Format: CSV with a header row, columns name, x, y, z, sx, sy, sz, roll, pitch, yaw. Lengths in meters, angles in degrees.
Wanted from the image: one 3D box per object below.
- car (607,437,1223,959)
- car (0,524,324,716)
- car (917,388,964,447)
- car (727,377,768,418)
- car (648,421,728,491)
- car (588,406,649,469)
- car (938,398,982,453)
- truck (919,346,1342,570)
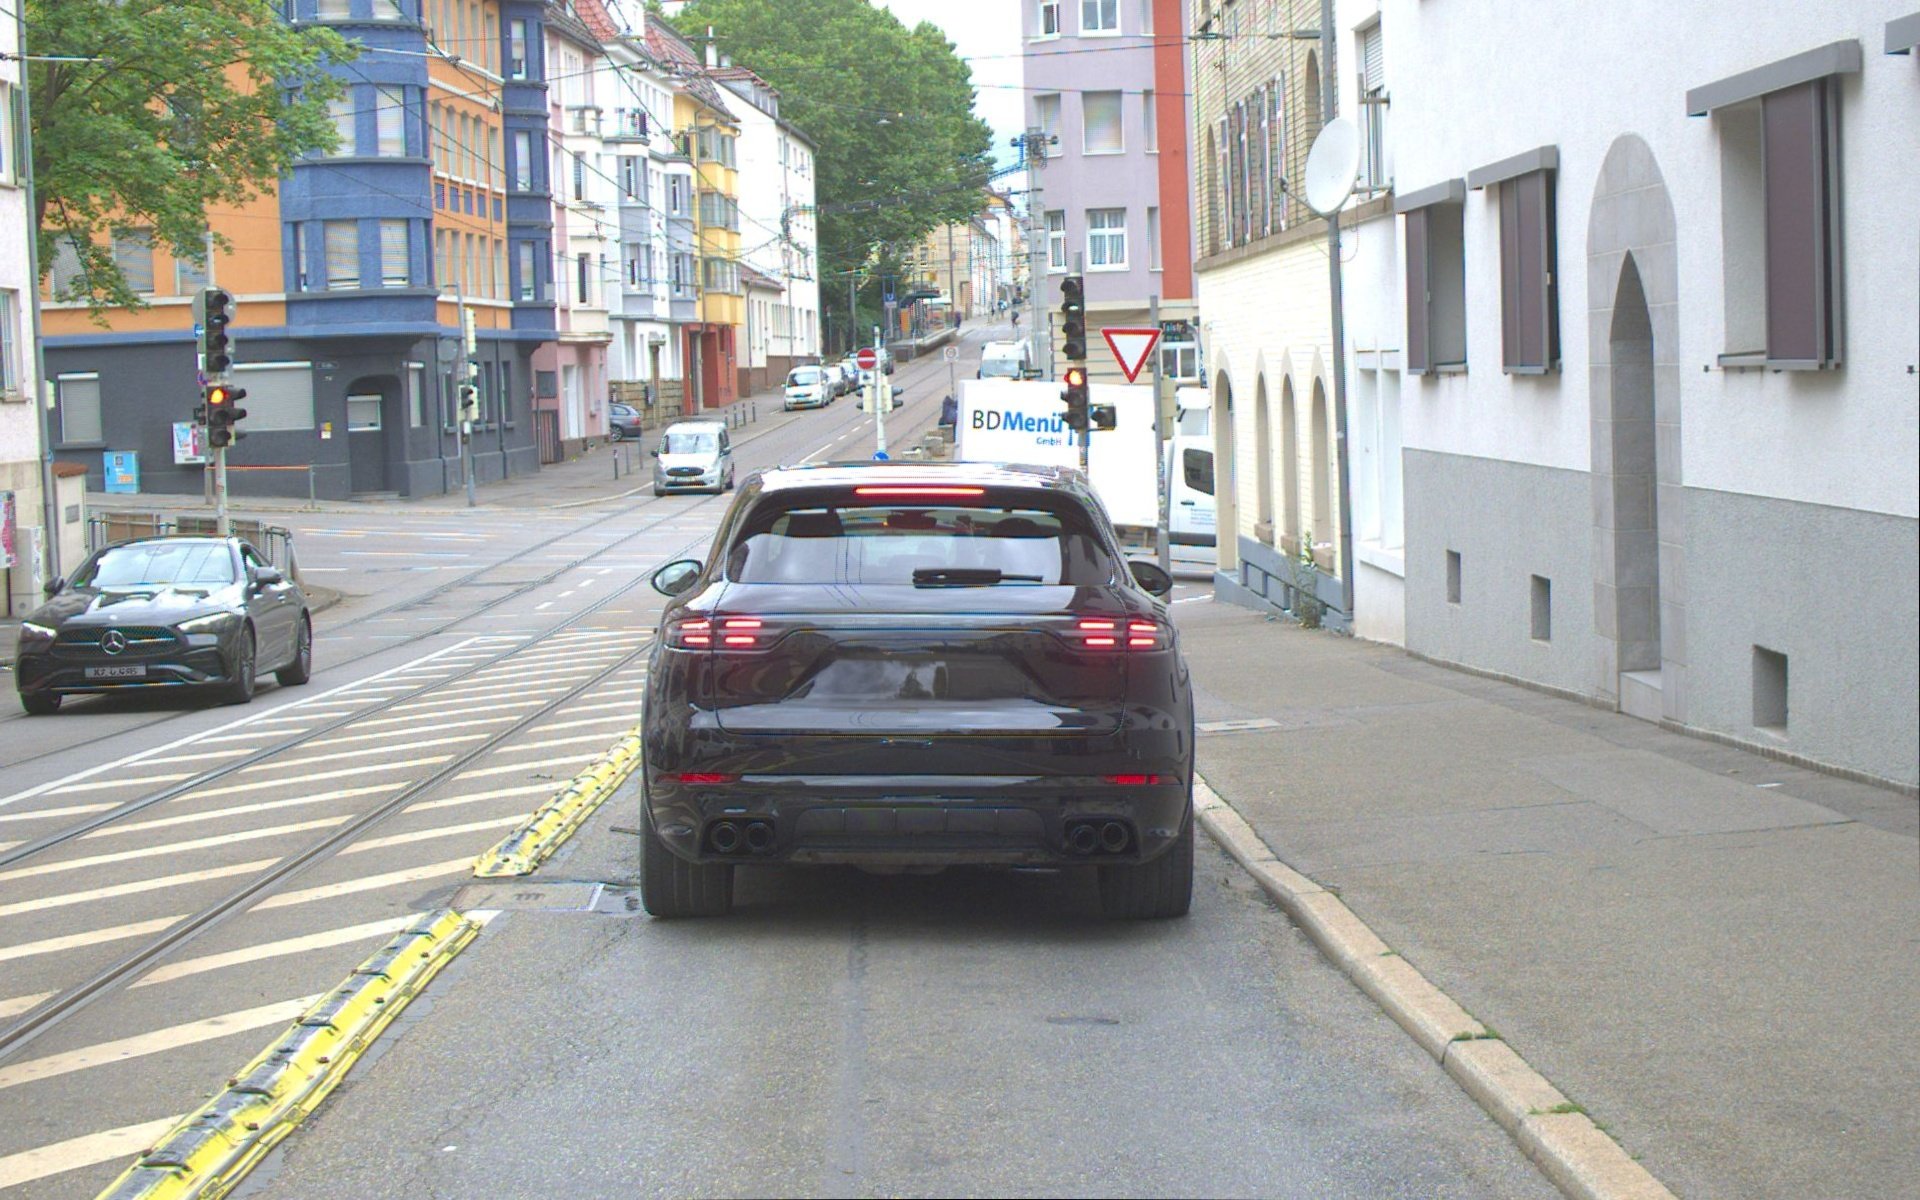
name,x,y,z,sx,sy,sz,roll,pitch,yaw
car,-0.194,0.264,13.428,1.993,1.670,4.001,-2,2,-1
car,-6.802,0.110,29.496,1.921,1.419,4.498,-2,2,-2
car,-0.602,-5.637,106.709,1.394,1.716,3.359,-2,2,0
car,-8.370,-7.966,135.410,1.394,1.445,3.359,-2,2,0
car,-7.188,-3.791,91.176,1.751,1.753,4.254,-2,2,0
car,-9.944,-4.717,100.221,1.394,1.716,3.359,-2,2,0
car,-0.012,-5.743,113.429,1.394,1.716,3.359,-2,2,0
truck,2.755,-2.273,56.065,6.389,3.359,2.344,-1,2,27
